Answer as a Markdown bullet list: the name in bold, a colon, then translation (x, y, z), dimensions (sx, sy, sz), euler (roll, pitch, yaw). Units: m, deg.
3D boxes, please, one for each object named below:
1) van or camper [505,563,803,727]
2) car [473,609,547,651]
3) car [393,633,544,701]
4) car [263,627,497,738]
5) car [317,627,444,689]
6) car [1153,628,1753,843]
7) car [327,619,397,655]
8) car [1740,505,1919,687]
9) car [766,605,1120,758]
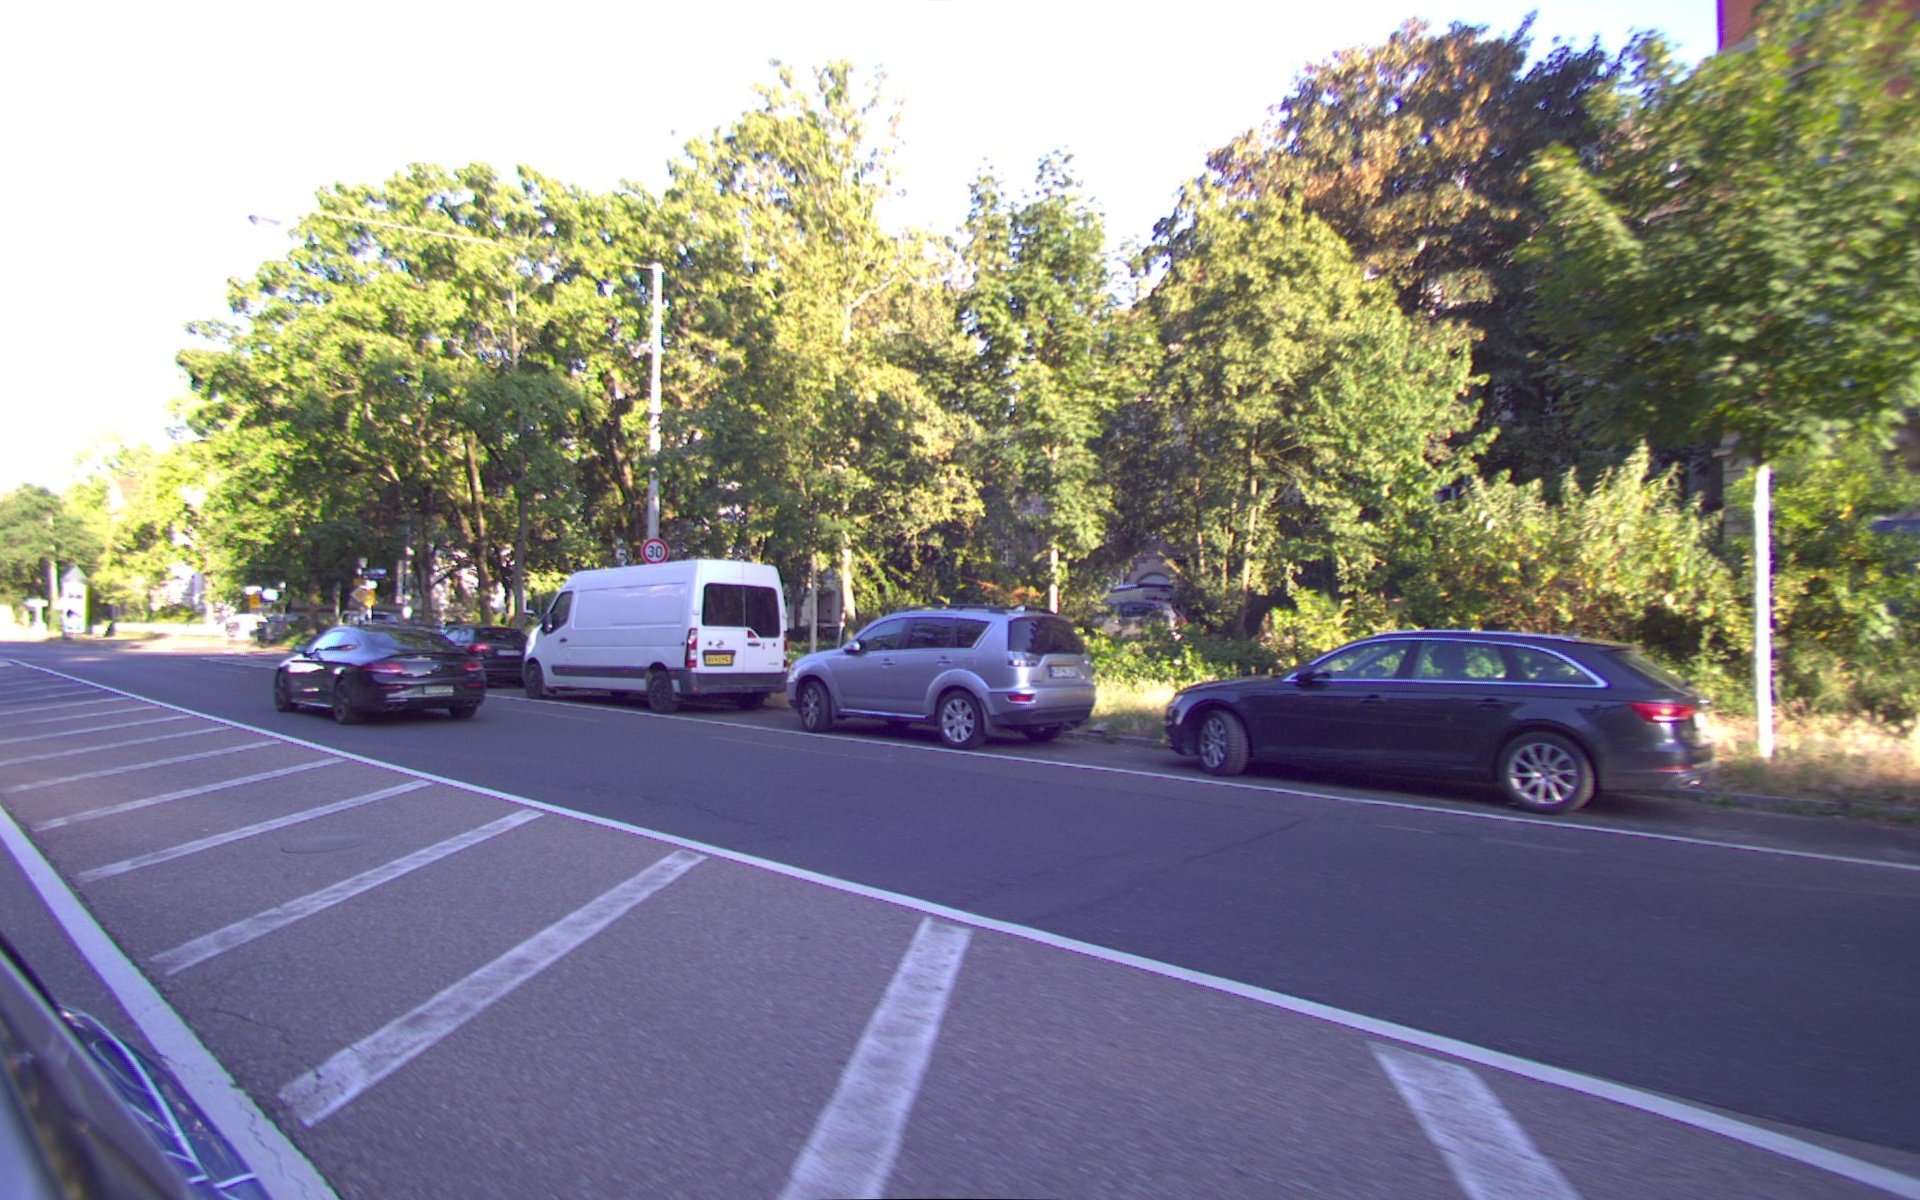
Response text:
- **van or camper**: translation (-5.695, 0.780, 18.230), dimensions (6.302, 2.487, 2.069), euler (-1, -3, 41)
- **car**: translation (-26.021, 1.703, 58.442), dimensions (5.100, 2.306, 2.190), euler (-1, -1, 44)
- **car**: translation (-11.535, 1.497, 23.632), dimensions (4.240, 1.440, 1.611), euler (-1, -3, 41)
- **car**: translation (-8.871, 1.128, 15.311), dimensions (4.543, 1.413, 1.747), euler (-1, -2, 42)
- **car**: translation (-15.670, 1.497, 27.277), dimensions (4.543, 1.518, 1.606), euler (-1, -2, 42)
- **car**: translation (4.213, 0.996, 9.205), dimensions (4.623, 1.456, 1.718), euler (-1, -2, 42)
- **car**: translation (-31.430, 1.905, 53.148), dimensions (3.994, 1.809, 1.801), euler (-1, -1, 38)
- **car**: translation (15.603, -0.039, 15.569), dimensions (2.090, 2.760, 5.327), euler (2, -2, -23)
- **car**: translation (-0.358, 0.936, 13.171), dimensions (4.569, 1.657, 1.846), euler (-1, -2, 41)
